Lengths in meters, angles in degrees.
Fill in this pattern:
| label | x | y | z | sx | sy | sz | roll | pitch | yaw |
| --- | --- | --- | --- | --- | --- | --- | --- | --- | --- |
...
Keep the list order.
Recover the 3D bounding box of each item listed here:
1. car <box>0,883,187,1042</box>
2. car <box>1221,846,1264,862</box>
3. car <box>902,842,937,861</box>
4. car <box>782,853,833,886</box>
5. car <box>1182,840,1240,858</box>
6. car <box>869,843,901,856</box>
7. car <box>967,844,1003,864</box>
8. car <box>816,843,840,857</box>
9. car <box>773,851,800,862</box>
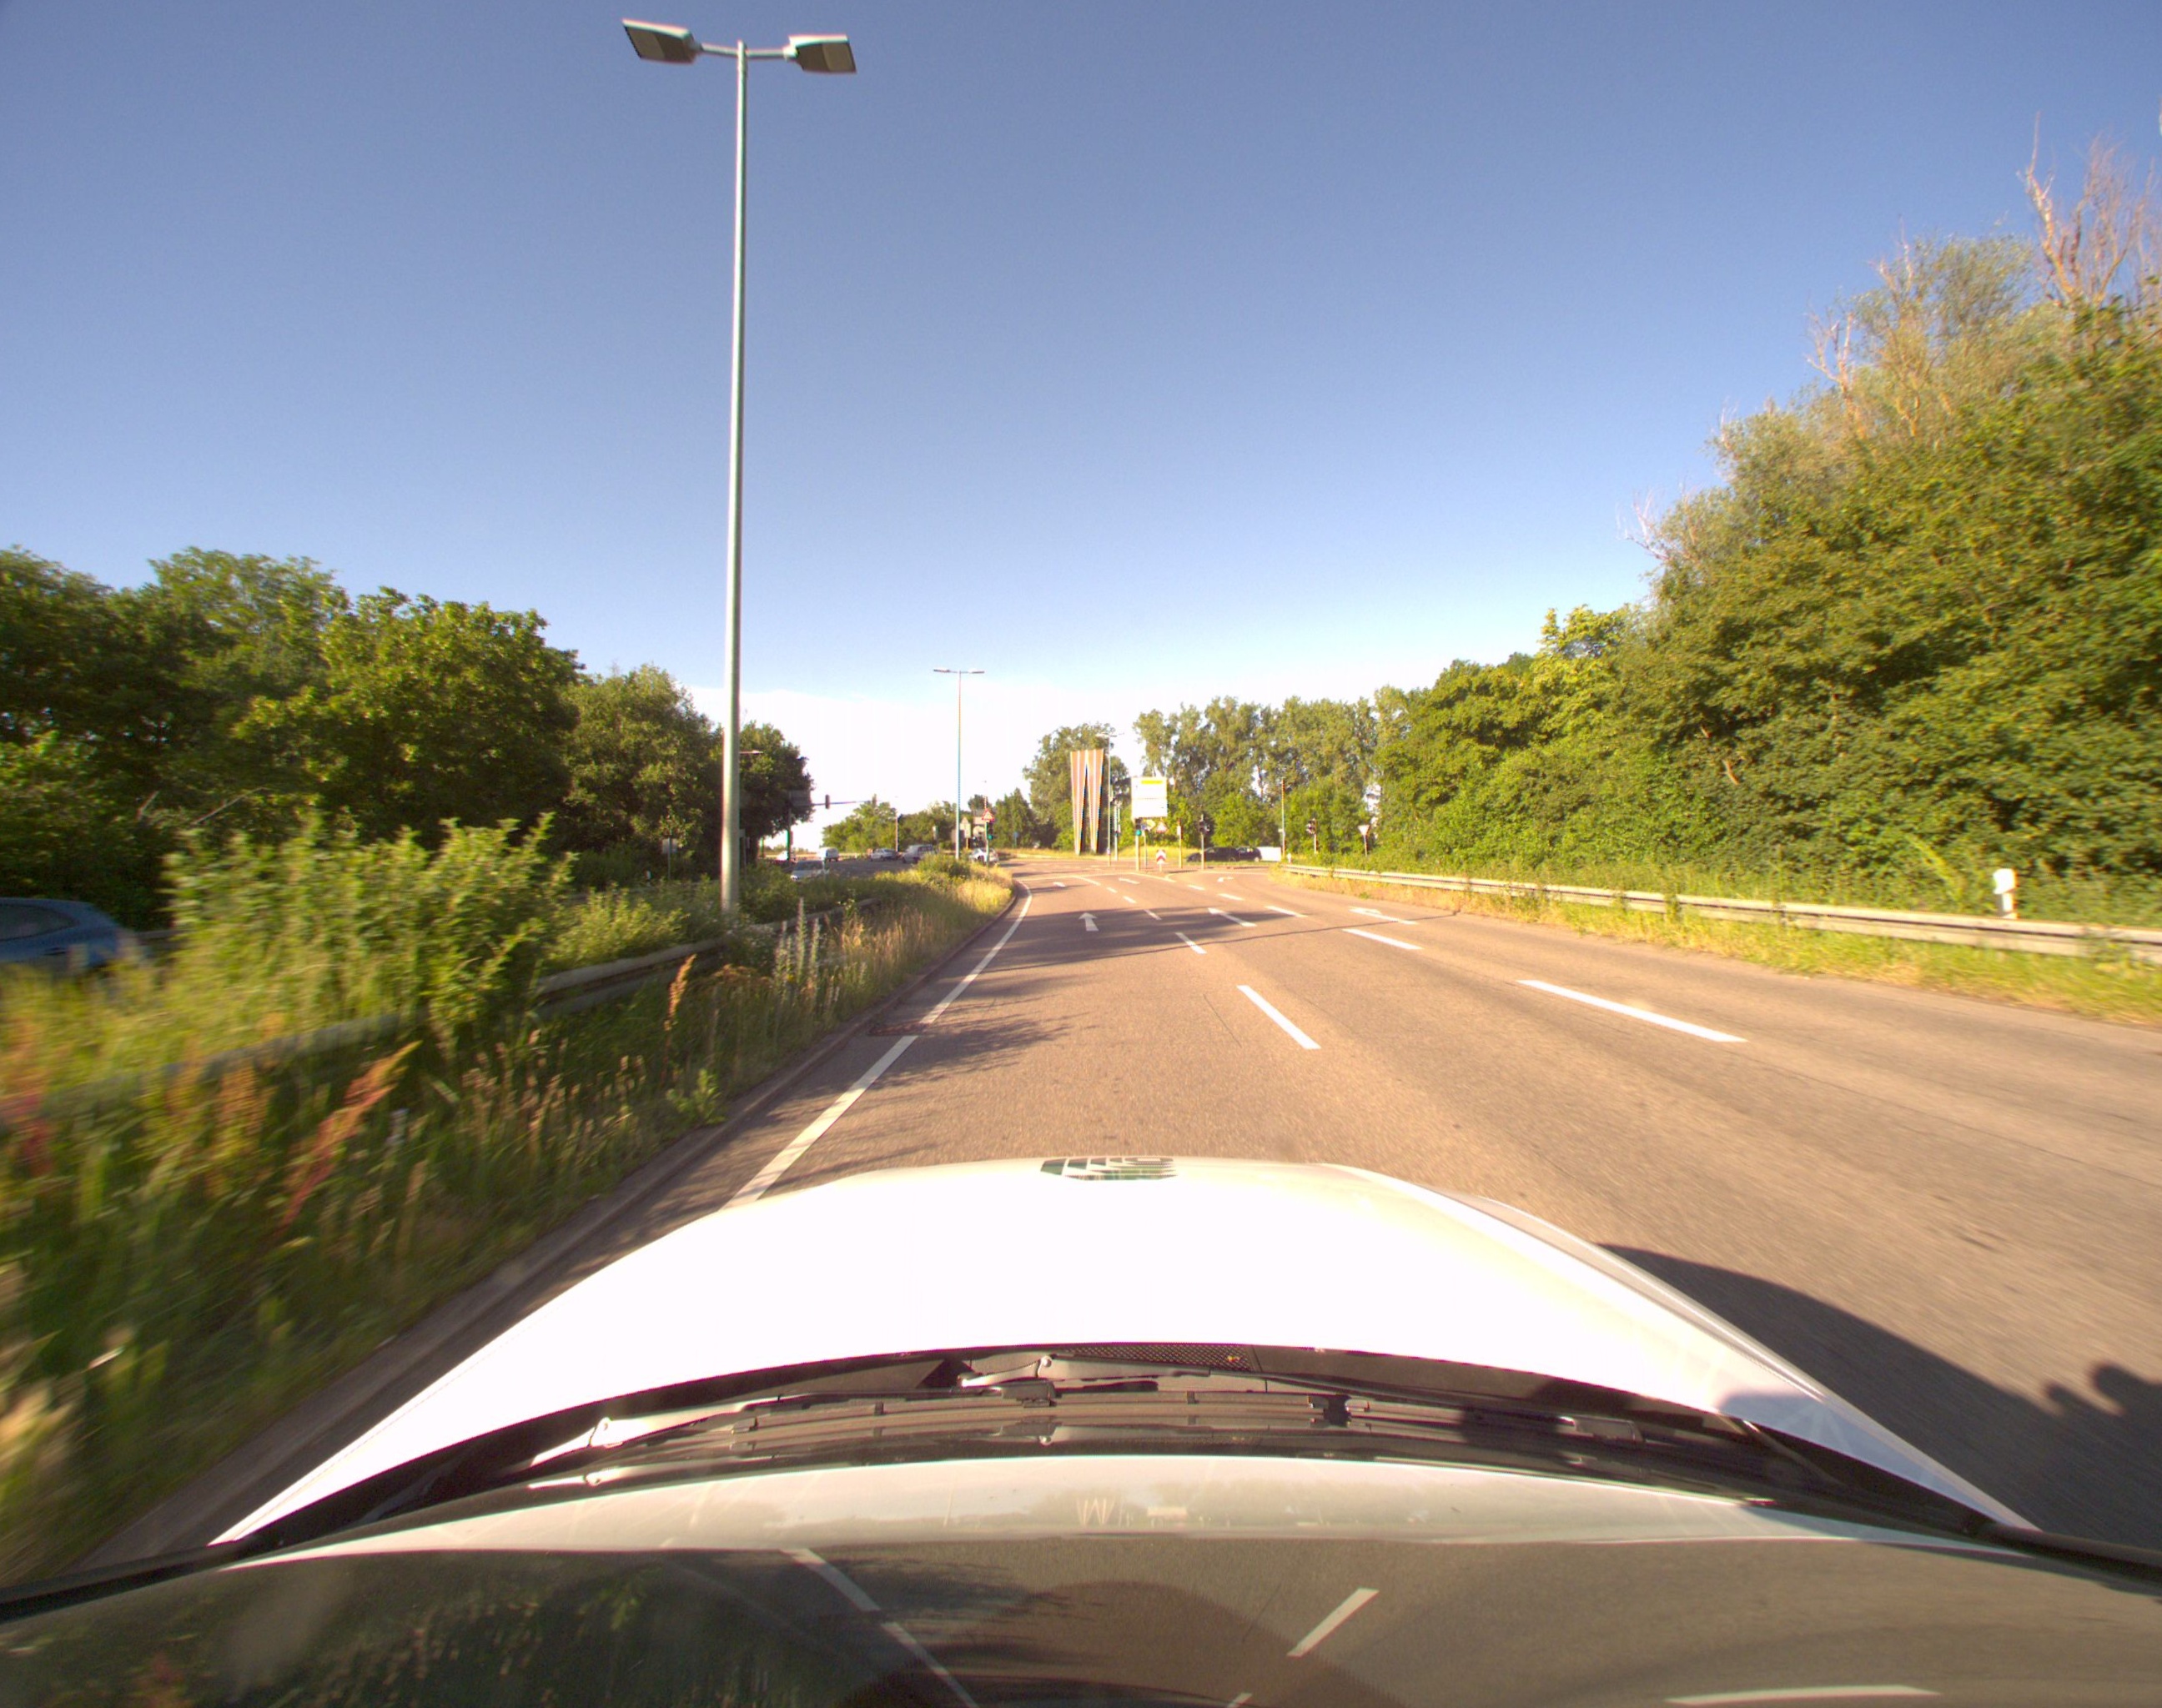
| label | x | y | z | sx | sy | sz | roll | pitch | yaw |
| --- | --- | --- | --- | --- | --- | --- | --- | --- | --- |
| car | -10.966 | 1.093 | 6.980 | 1.882 | 1.420 | 4.358 | -3 | 0 | -4 |
| car | 15.109 | -0.036 | 76.106 | 3.680 | 1.387 | 1.610 | -1 | 0 | -1 |
| car | -16.645 | -0.264 | 83.904 | 2.008 | 1.879 | 4.203 | -2 | 1 | -35 |
| car | -13.849 | 0.737 | 41.404 | 1.886 | 1.520 | 4.200 | -2 | 1 | -11 |
| car | 10.934 | -0.450 | 68.398 | 4.453 | 1.464 | 1.996 | -1 | 1 | -7 |
| car | -23.573 | -0.516 | 97.997 | 1.986 | 1.474 | 4.104 | -2 | 2 | -42 |
| car | -8.204 | -0.031 | 69.476 | 2.001 | 1.640 | 4.098 | -2 | 1 | -22 |
| car | -33.189 | -0.573 | 106.687 | 1.982 | 1.698 | 3.960 | -2 | 1 | -32 |
| car | -44.021 | 0.362 | 121.528 | 3.950 | 1.508 | 2.287 | -1 | 0 | 44 |
